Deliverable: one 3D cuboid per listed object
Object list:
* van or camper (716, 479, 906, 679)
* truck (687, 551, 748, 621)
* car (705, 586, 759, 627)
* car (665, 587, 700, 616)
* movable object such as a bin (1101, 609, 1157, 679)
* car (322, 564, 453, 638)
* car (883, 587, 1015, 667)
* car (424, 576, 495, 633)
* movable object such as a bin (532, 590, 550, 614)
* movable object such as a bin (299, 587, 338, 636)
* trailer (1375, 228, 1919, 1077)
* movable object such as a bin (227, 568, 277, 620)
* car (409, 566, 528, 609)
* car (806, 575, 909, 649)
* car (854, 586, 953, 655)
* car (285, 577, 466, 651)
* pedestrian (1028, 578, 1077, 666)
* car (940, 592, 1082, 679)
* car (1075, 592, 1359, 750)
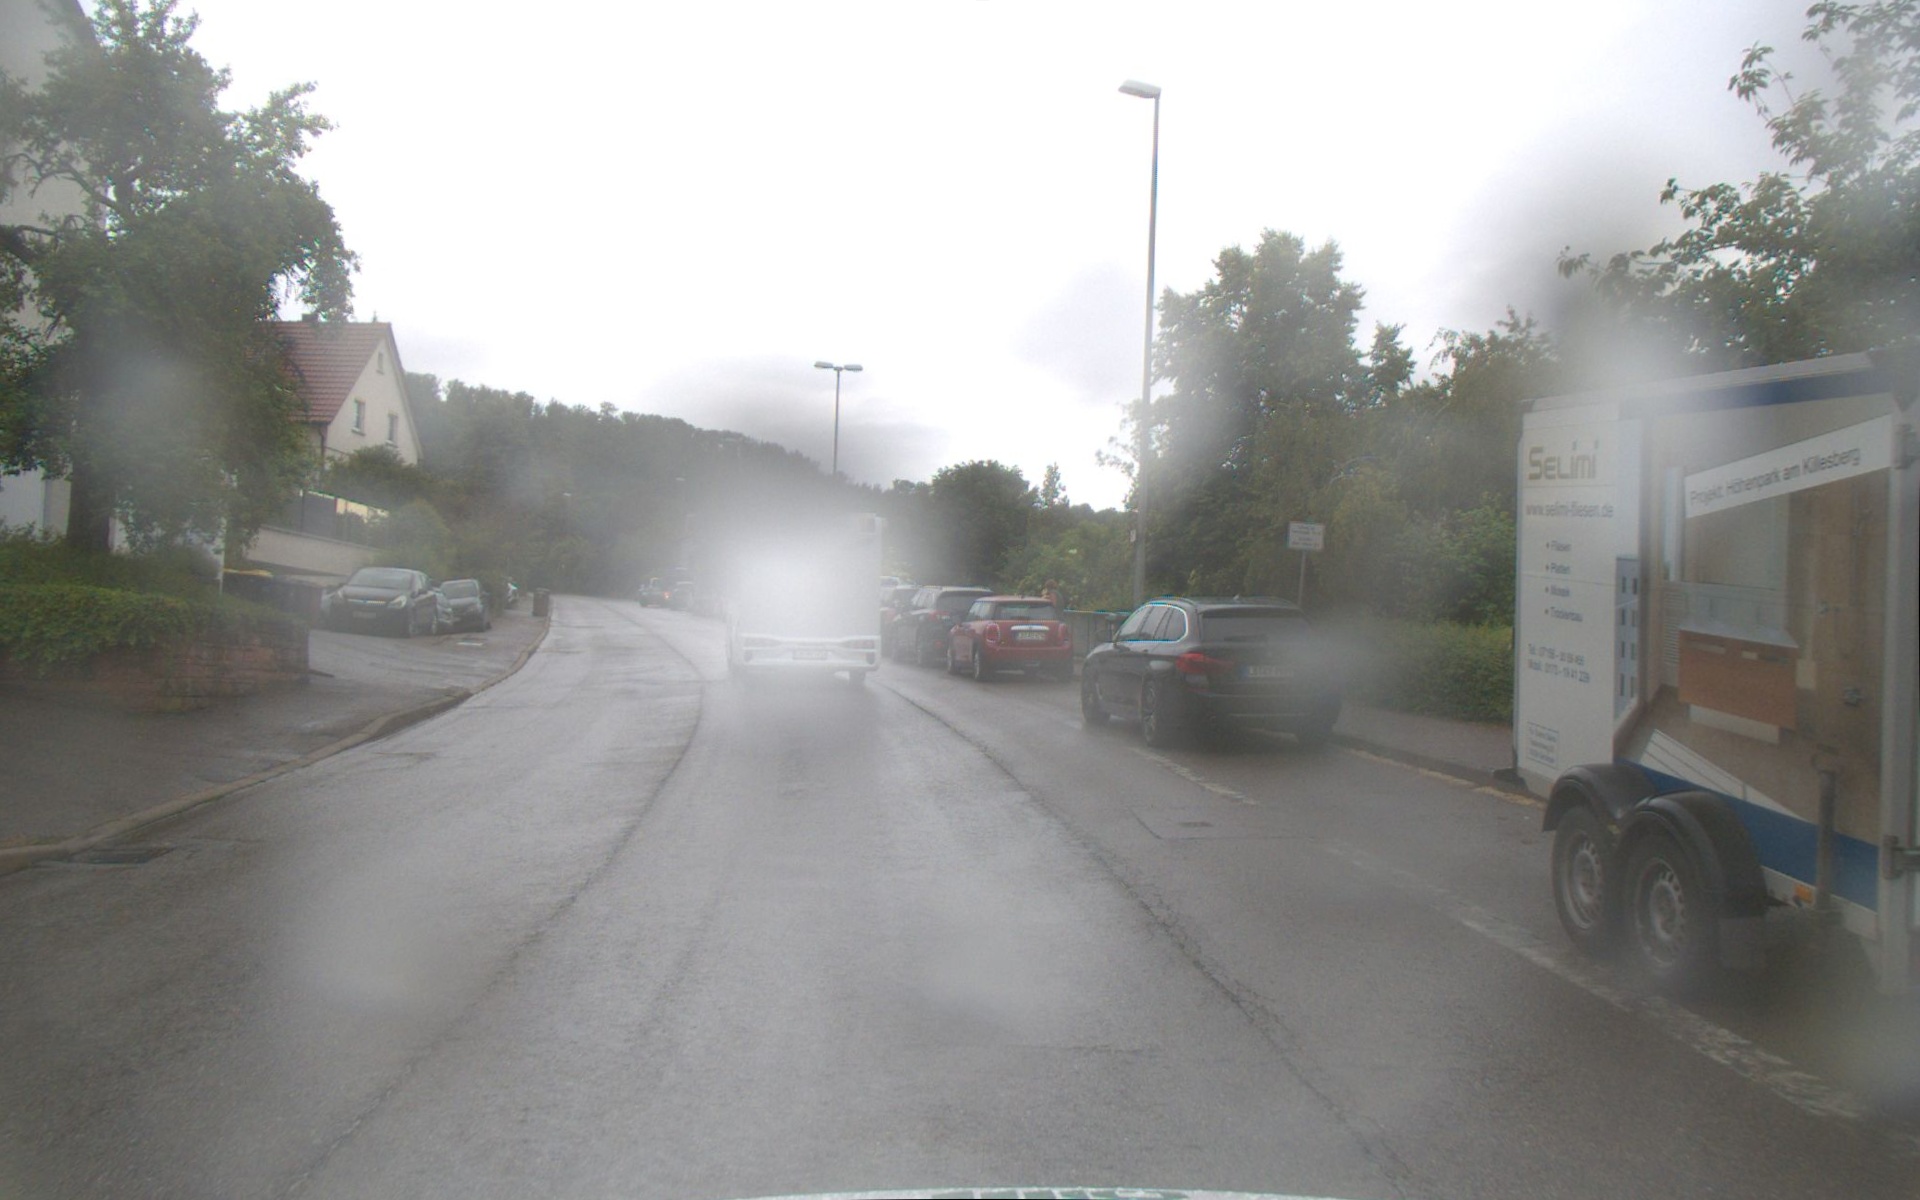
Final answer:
[{"bbox_3d":[-2.671,-0.231,27.961,2.568,2.903,6.015,3,-2,-10],"label":"van or camper"},{"bbox_3d":[-12.601,-0.675,85.466,2.395,3.394,7.936,1,0,-14],"label":"truck"},{"bbox_3d":[-9.531,0.265,68.990,1.730,1.632,4.649,1,0,-14],"label":"car"},{"bbox_3d":[-16.934,0.052,100.945,1.902,1.701,4.680,1,0,-12],"label":"car"},{"bbox_3d":[2.761,0.709,27.039,0.700,1.113,0.847,1,0,-9],"label":"movable object such as a bin"},{"bbox_3d":[-12.495,0.031,36.334,1.732,1.400,4.241,5,-1,-7],"label":"car"},{"bbox_3d":[-0.313,0.533,34.474,1.784,1.533,4.709,1,0,-13],"label":"car"},{"bbox_3d":[-15.137,0.132,50.187,1.772,1.625,4.402,1,0,-14],"label":"car"},{"bbox_3d":[-16.644,0.079,65.697,0.593,0.944,0.561,3,-1,-18],"label":"movable object such as a bin"},{"bbox_3d":[-14.797,0.264,38.143,0.638,1.097,0.558,0,0,7],"label":"movable object such as a bin"},{"bbox_3d":[3.656,0.172,7.551,1.910,2.499,5.431,1,0,-3],"label":"trailer"},{"bbox_3d":[-14.766,-0.117,34.503,0.734,1.076,0.701,0,0,2],"label":"movable object such as a bin"},{"bbox_3d":[-23.533,-0.582,79.261,4.979,1.978,2.142,1,0,2],"label":"car"},{"bbox_3d":[-2.897,0.331,45.668,1.819,1.915,4.889,1,0,-16],"label":"car"},{"bbox_3d":[-1.426,0.476,39.988,1.616,1.567,4.340,1,0,-13],"label":"car"},{"bbox_3d":[-14.520,0.345,41.216,3.749,1.503,1.804,-5,-1,1],"label":"car"},{"bbox_3d":[1.774,0.414,31.794,0.702,1.663,0.706,1,0,25],"label":"pedestrian"},{"bbox_3d":[0.842,0.608,29.535,1.705,1.439,3.841,1,0,-11],"label":"car"},{"bbox_3d":[2.614,0.677,18.066,1.759,1.485,4.780,1,0,-8],"label":"car"}]
